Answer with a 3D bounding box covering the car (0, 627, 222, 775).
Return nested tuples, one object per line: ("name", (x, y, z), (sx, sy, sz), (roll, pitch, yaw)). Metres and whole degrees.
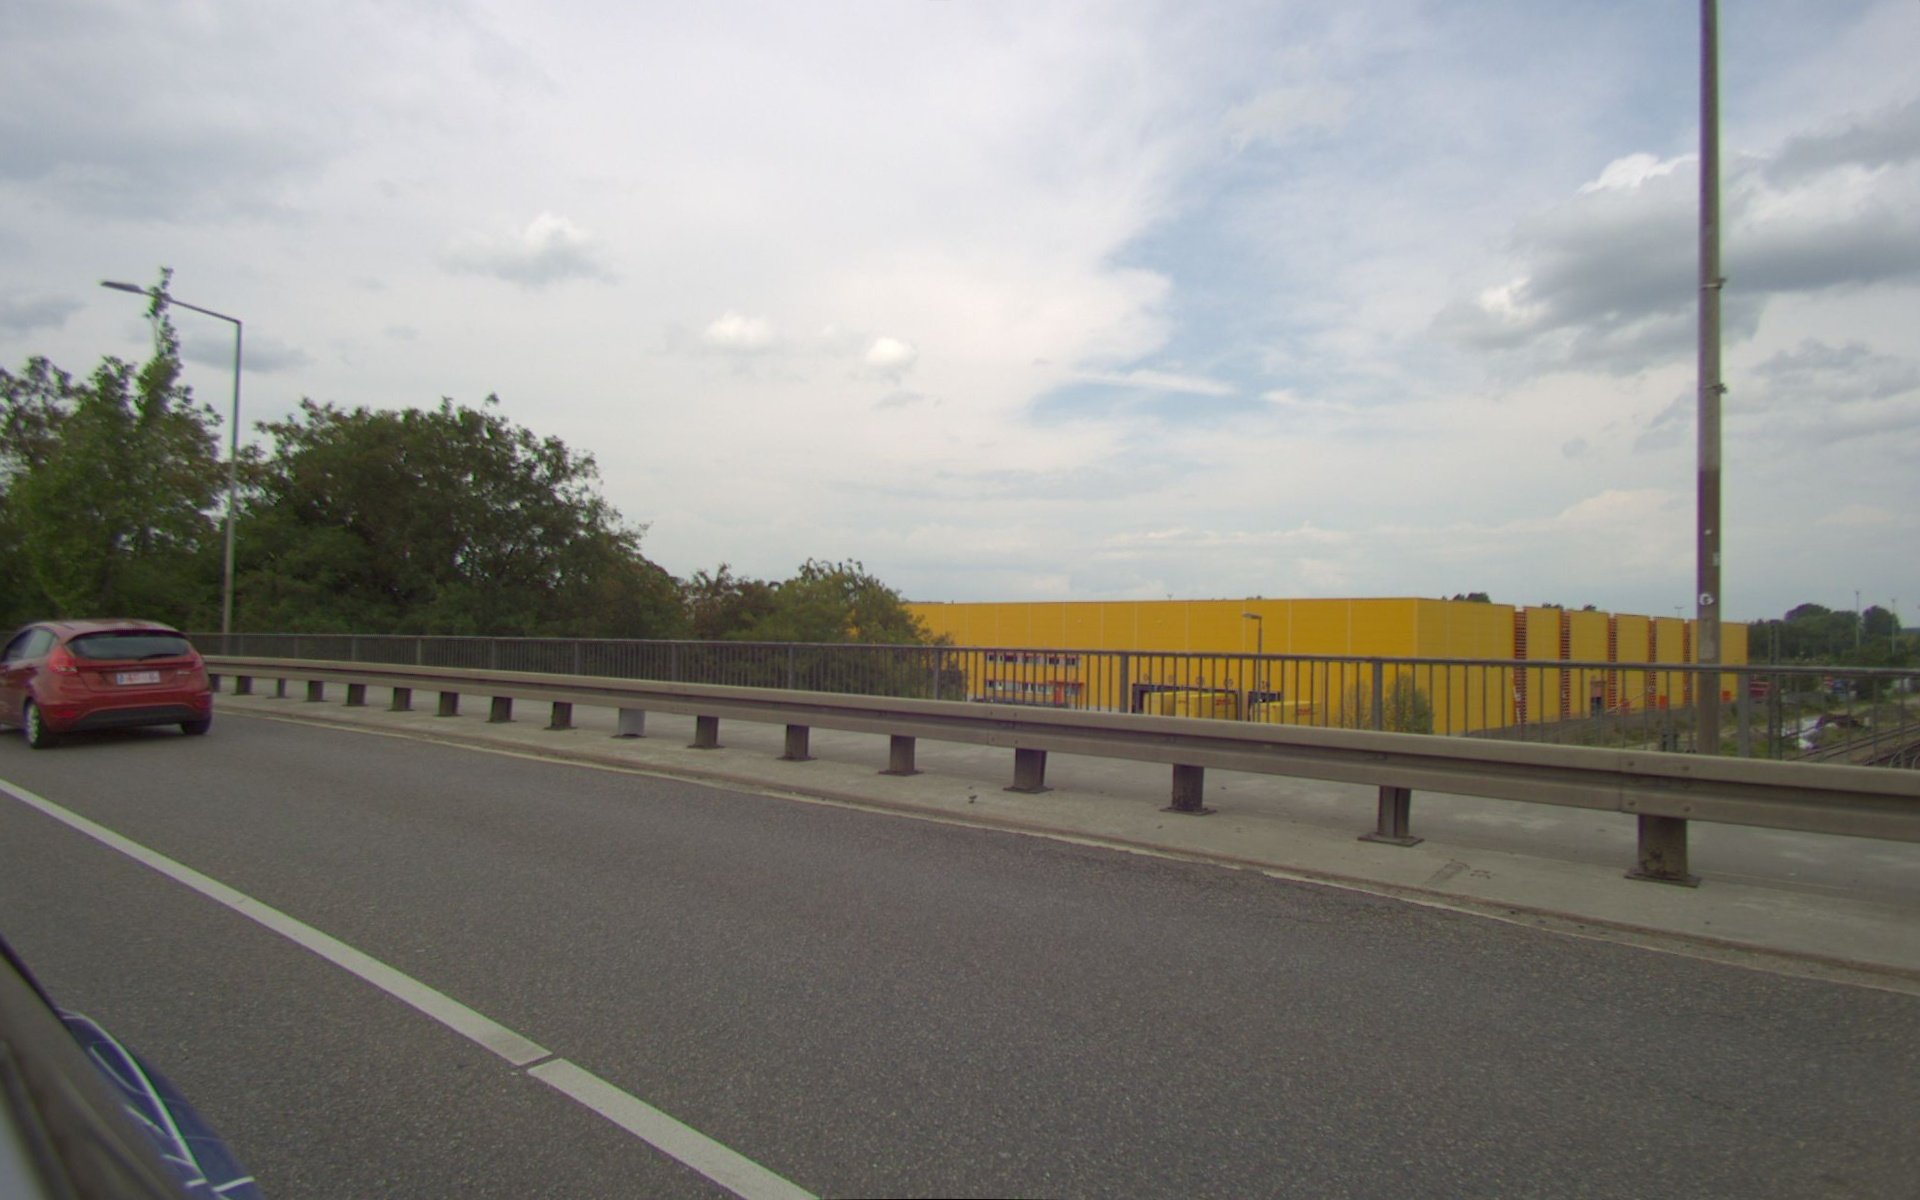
("car", (-10.866, 1.107, 12.521), (3.993, 1.503, 1.743), (-1, 0, 37))
